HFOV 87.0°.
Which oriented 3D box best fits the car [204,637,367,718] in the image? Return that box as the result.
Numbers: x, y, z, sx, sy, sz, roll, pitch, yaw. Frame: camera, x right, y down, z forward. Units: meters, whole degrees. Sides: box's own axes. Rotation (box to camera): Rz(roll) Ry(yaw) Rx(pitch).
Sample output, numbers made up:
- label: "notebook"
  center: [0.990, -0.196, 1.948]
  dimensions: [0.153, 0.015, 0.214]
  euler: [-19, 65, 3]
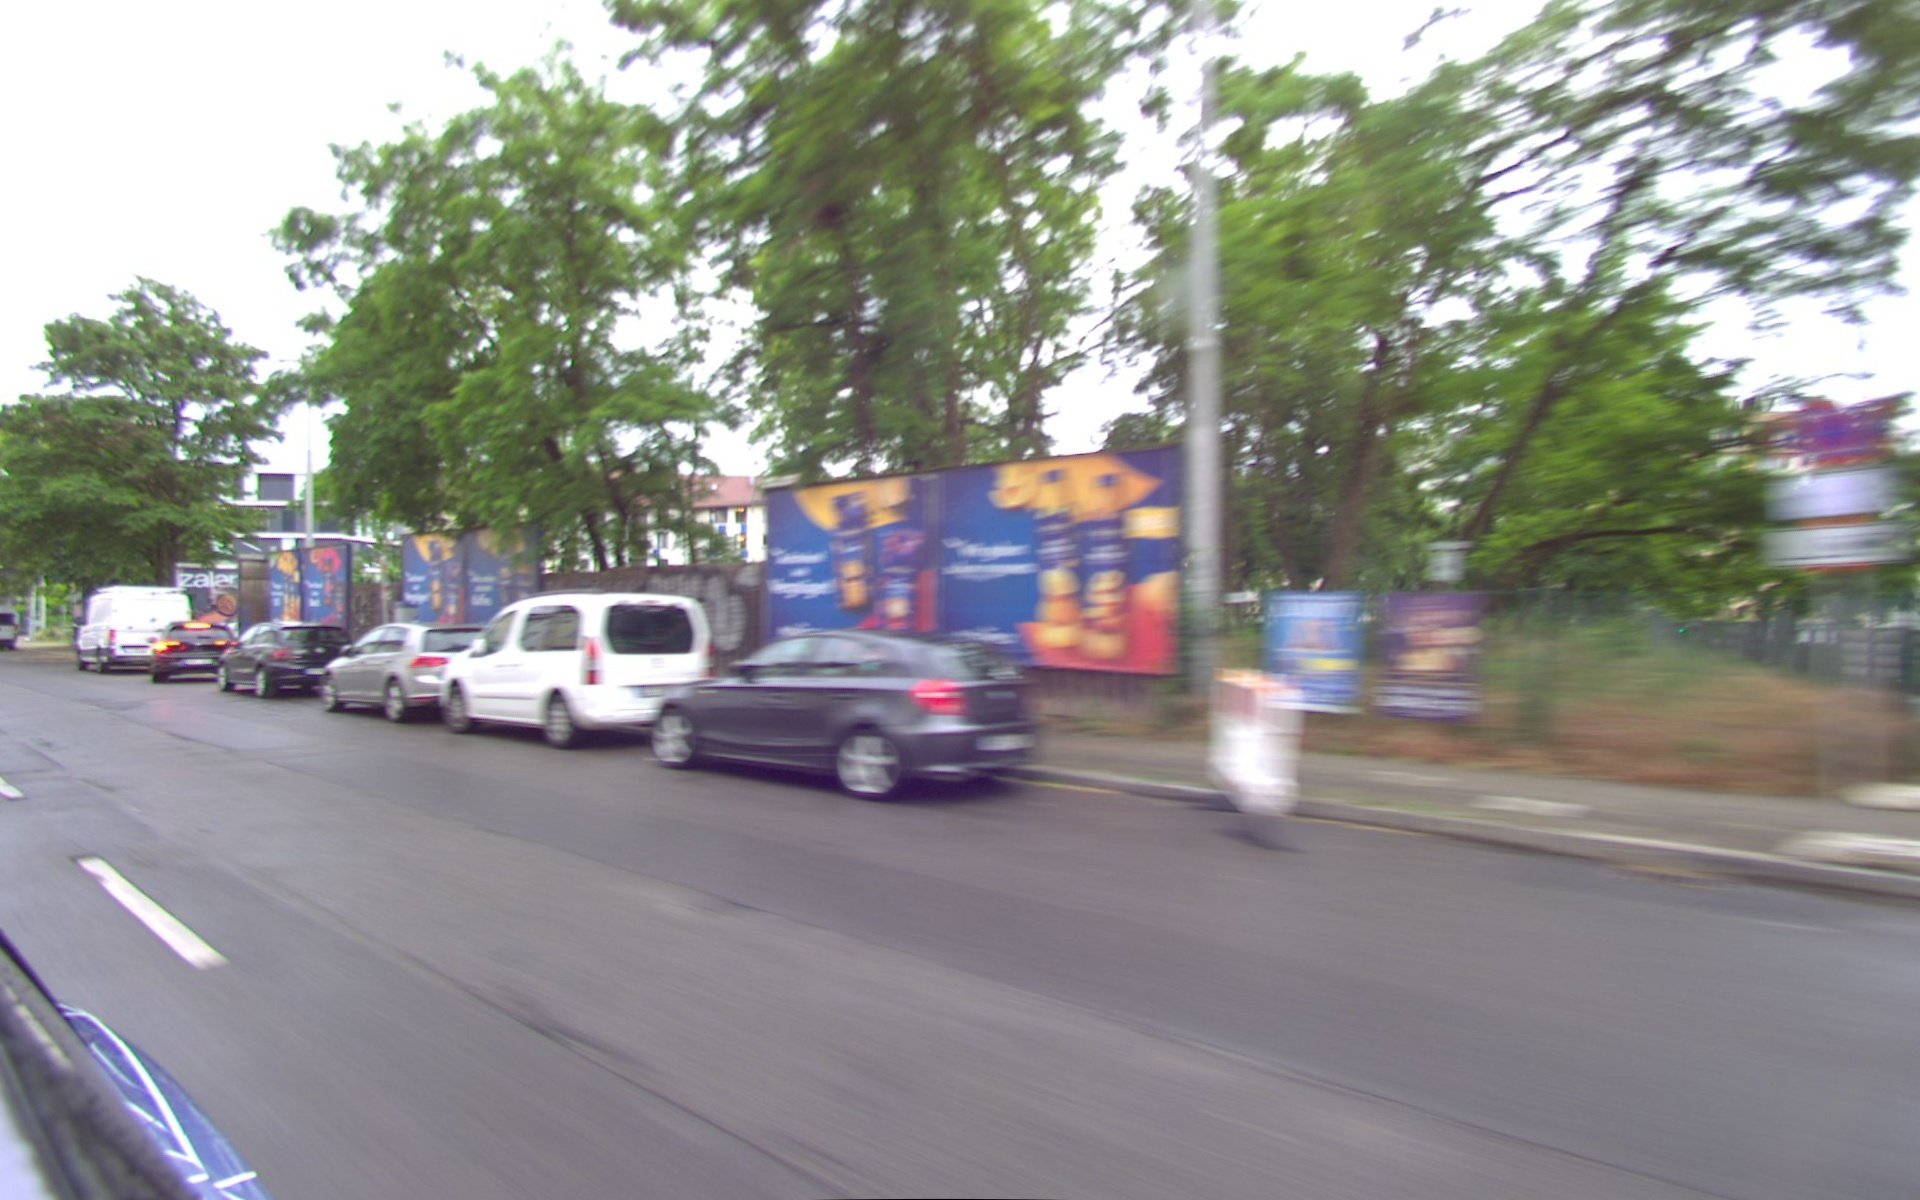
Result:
- label: "car"
  center: [-13.522, 1.470, 20.214]
  dimensions: [3.907, 1.409, 1.665]
  euler: [-1, -2, 40]

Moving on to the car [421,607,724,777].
- label: "car"
  center: [-5.018, 1.021, 12.831]
  dimensions: [4.341, 1.814, 1.706]
  euler: [-1, -2, 41]

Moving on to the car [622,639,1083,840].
- label: "car"
  center: [-1.157, 1.094, 9.418]
  dimensions: [4.339, 1.386, 1.707]
  euler: [-1, -2, 39]

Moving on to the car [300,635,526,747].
- label: "car"
  center: [-8.707, 1.324, 15.961]
  dimensions: [4.274, 1.474, 1.665]
  euler: [-1, -2, 40]

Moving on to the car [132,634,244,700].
- label: "car"
  center: [-19.249, 1.592, 25.155]
  dimensions: [1.783, 1.426, 4.388]
  euler: [1, -2, -43]

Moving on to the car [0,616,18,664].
- label: "car"
  center: [-54.250, 2.214, 56.072]
  dimensions: [6.532, 2.599, 2.207]
  euler: [-2, -3, 40]

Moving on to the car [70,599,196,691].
- label: "car"
  center: [-24.873, 1.332, 30.346]
  dimensions: [5.981, 2.506, 1.990]
  euler: [-2, -3, 42]
